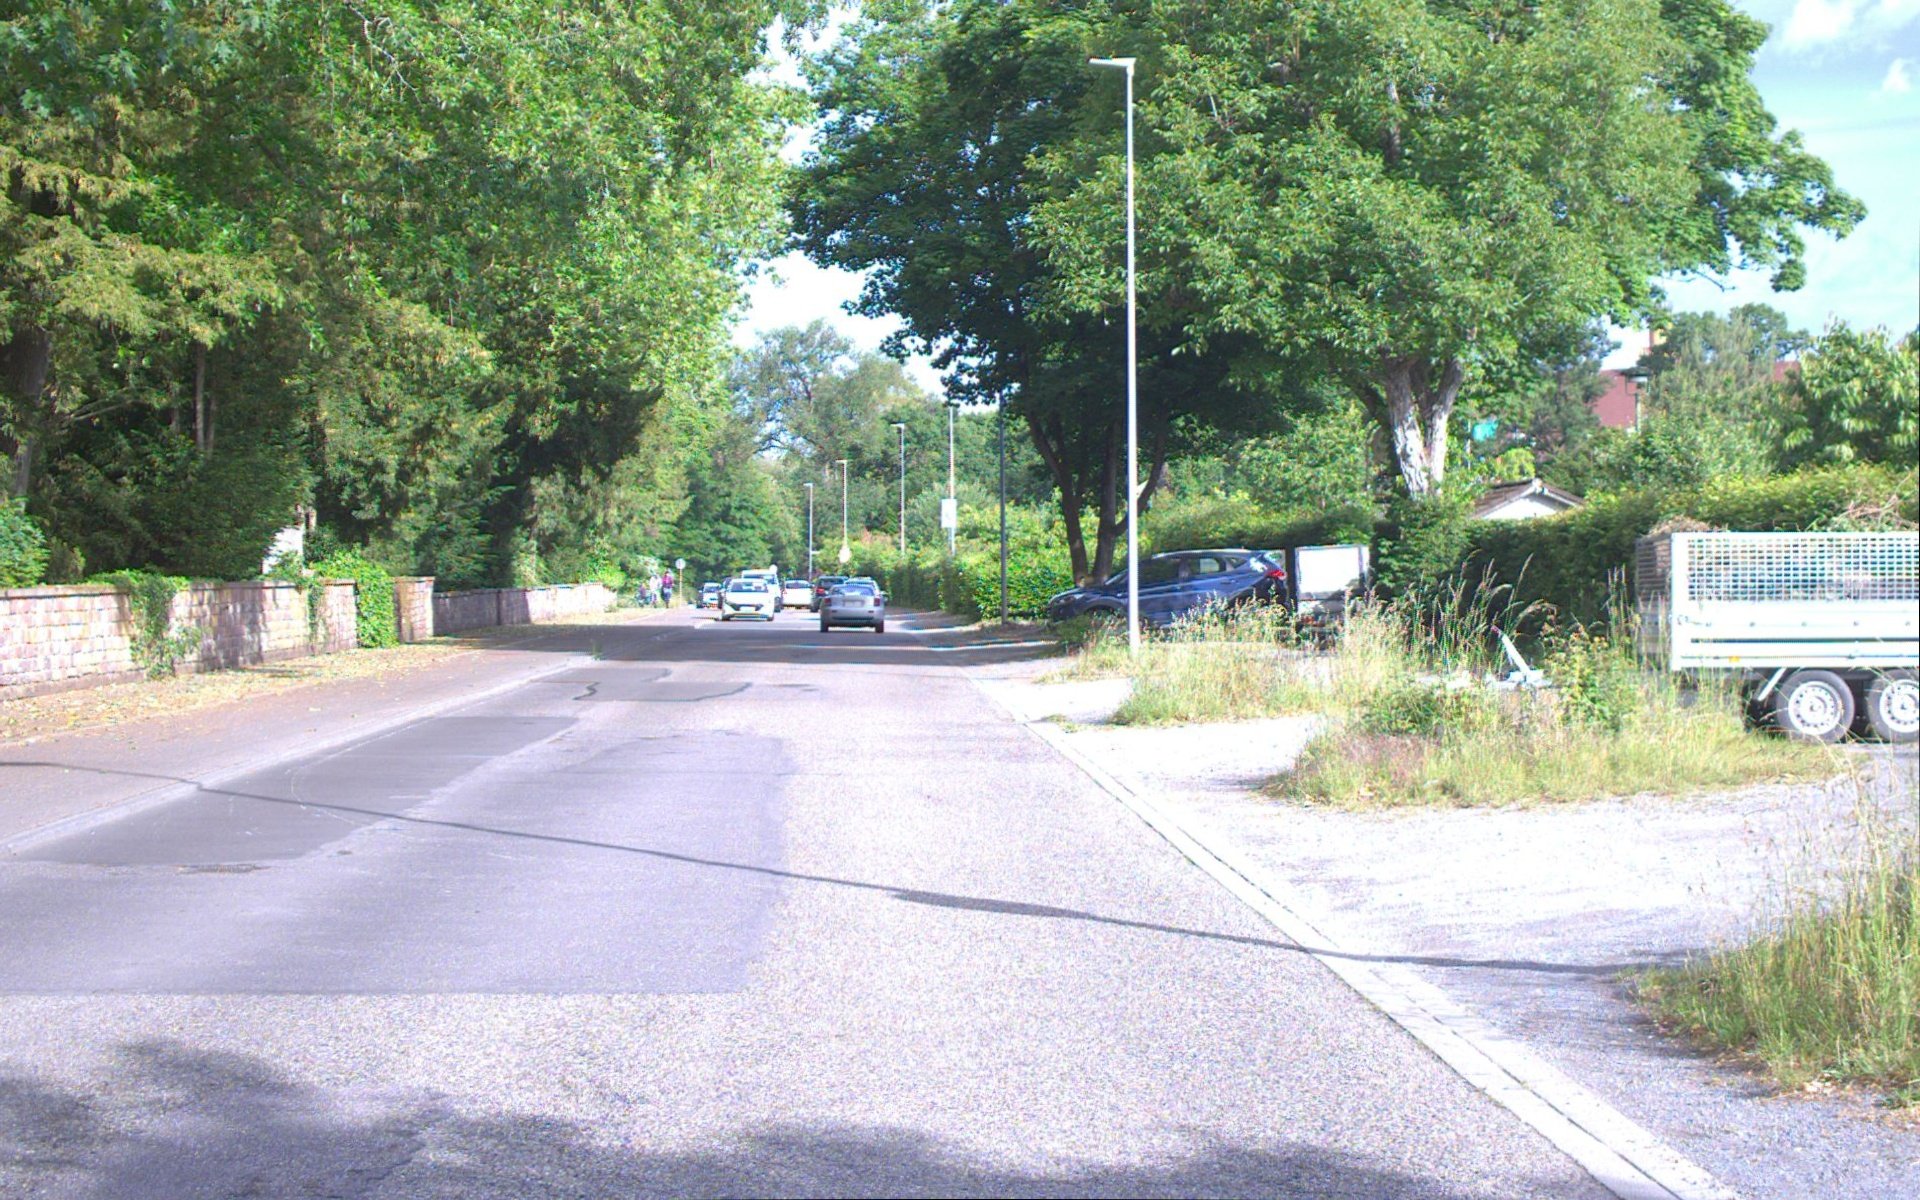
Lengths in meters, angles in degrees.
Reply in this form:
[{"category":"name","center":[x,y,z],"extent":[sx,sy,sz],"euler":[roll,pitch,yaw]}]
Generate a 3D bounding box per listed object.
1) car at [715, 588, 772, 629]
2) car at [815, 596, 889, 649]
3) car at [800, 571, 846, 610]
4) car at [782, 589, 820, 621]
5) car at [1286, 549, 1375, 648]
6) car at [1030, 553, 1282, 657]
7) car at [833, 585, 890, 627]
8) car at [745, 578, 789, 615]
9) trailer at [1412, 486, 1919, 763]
[{"category":"car","center":[-7.521,0.286,119.077],"extent":[1.886,1.367,4.055],"euler":[0,0,-4]},{"category":"car","center":[-2.933,0.595,92.750],"extent":[1.886,1.367,4.055],"euler":[0,0,-3]},{"category":"car","center":[-5.889,-0.405,147.276],"extent":[1.886,1.608,4.055],"euler":[0,0,-3]},{"category":"car","center":[-8.042,0.250,173.831],"extent":[1.886,1.608,4.055],"euler":[0,0,-3]},{"category":"car","center":[6.612,-0.047,61.129],"extent":[1.351,1.627,4.110],"euler":[-3,0,8]},{"category":"car","center":[3.557,0.085,63.002],"extent":[4.403,1.641,2.000],"euler":[-3,0,-1]},{"category":"car","center":[-3.483,0.204,120.683],"extent":[1.886,1.460,4.055],"euler":[0,0,-3]},{"category":"car","center":[-8.349,-0.157,148.674],"extent":[1.886,1.559,4.055],"euler":[0,0,-3]},{"category":"trailer","center":[5.445,0.156,24.710],"extent":[4.152,1.828,1.916],"euler":[-2,0,2]}]
